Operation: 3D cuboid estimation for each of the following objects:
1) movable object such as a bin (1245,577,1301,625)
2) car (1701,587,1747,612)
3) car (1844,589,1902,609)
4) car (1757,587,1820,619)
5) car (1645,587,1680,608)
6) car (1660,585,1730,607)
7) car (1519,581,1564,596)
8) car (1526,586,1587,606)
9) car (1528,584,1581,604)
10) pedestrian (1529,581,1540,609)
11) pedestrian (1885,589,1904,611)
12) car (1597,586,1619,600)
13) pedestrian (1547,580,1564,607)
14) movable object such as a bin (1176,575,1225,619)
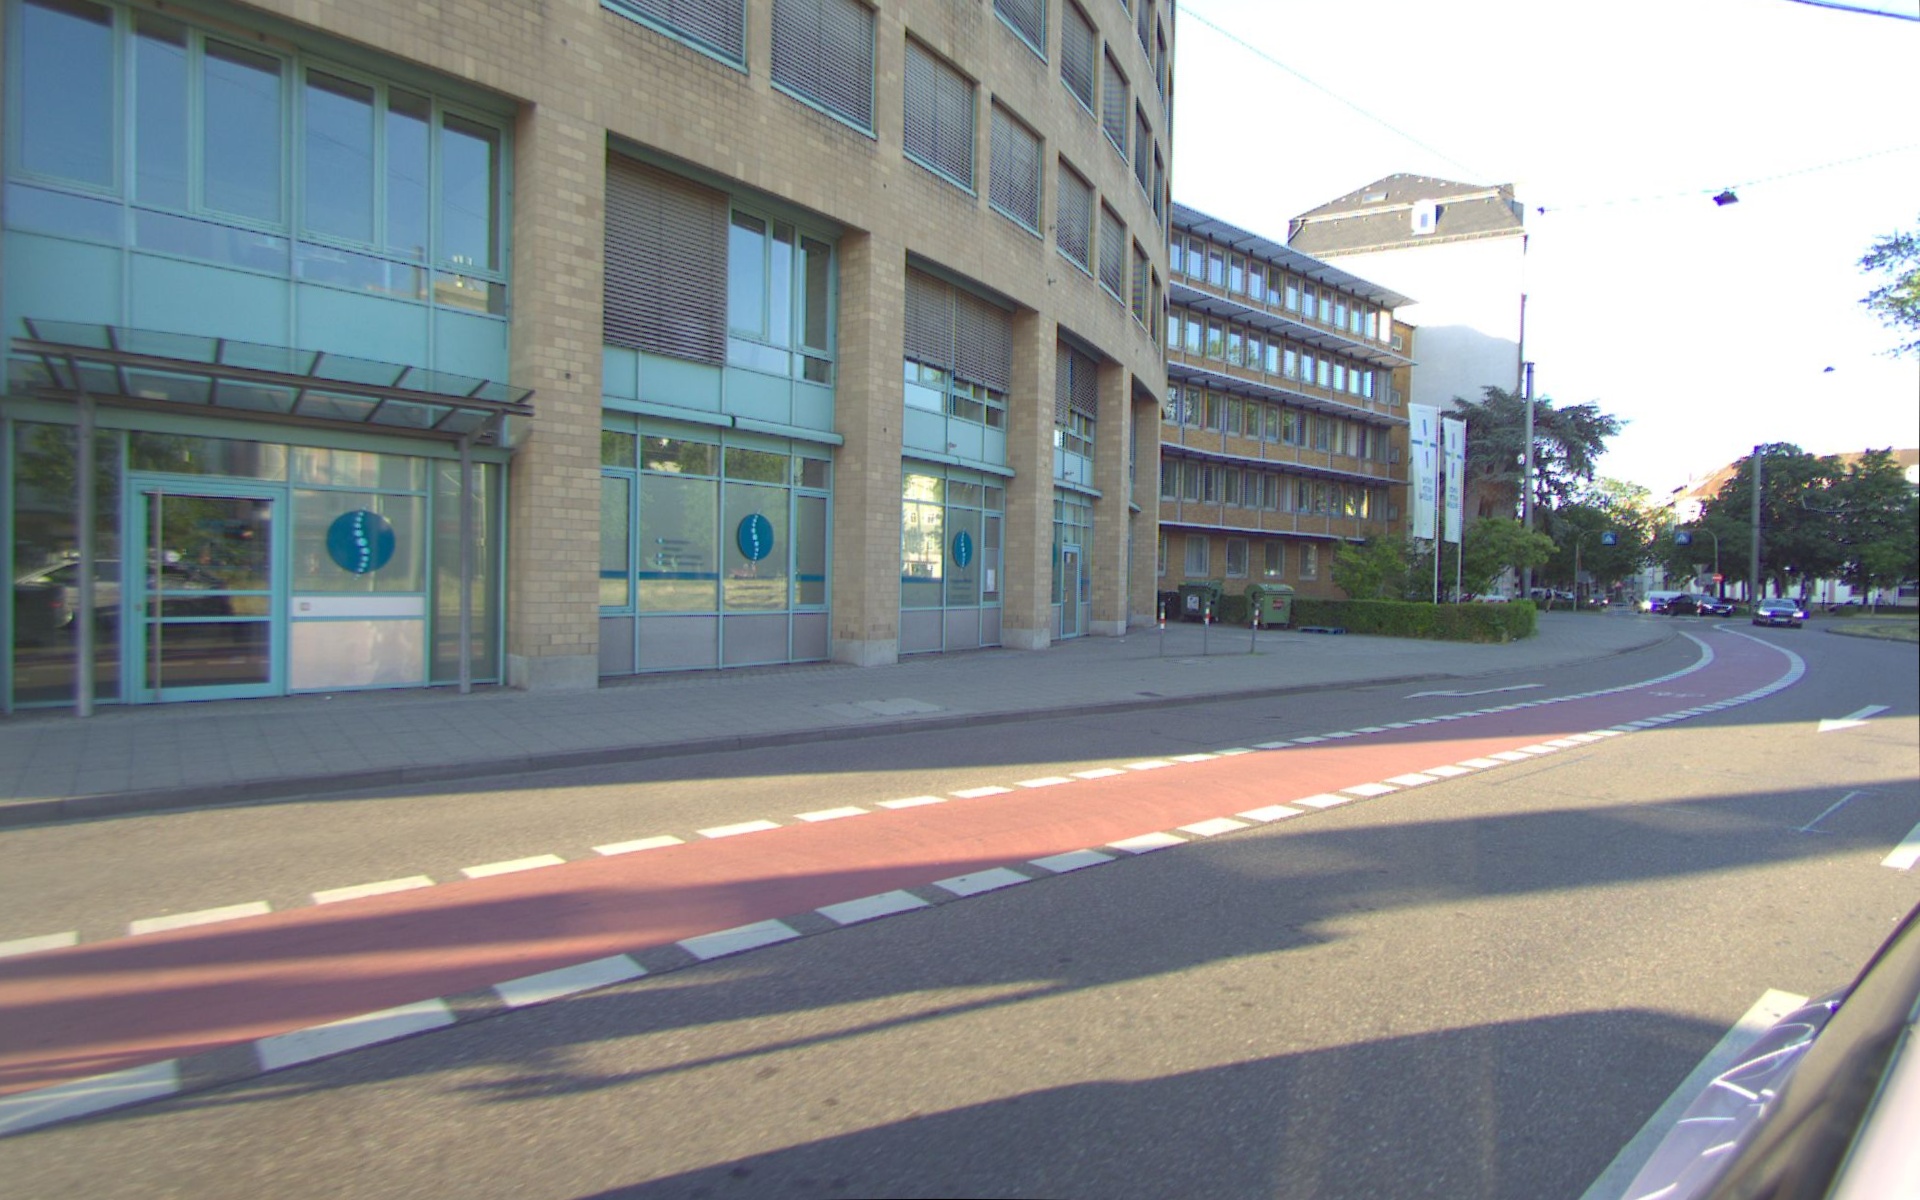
[{"bbox_3d":[9.881,0.033,31.971,1.317,1.455,0.976,2,0,-21],"label":"movable object such as a bin"},{"bbox_3d":[49.671,-0.001,65.858,1.806,1.501,4.092,3,1,29],"label":"car"},{"bbox_3d":[88.703,-0.079,98.387,1.672,1.746,4.008,2,1,-41],"label":"car"},{"bbox_3d":[42.695,0.154,52.209,1.806,1.501,4.091,3,1,30],"label":"car"},{"bbox_3d":[53.736,-0.209,77.431,1.806,1.501,4.091,3,1,30],"label":"car"},{"bbox_3d":[71.757,-0.409,98.876,2.082,1.926,5.079,2,1,-38],"label":"car"},{"bbox_3d":[68.179,-1.341,118.723,4.358,1.633,1.713,3,1,28],"label":"car"},{"bbox_3d":[50.535,-0.345,85.826,4.362,1.577,1.818,3,1,30],"label":"car"},{"bbox_3d":[52.902,-0.506,90.124,4.036,1.589,1.817,3,1,31],"label":"car"},{"bbox_3d":[36.957,-0.321,65.093,0.573,1.730,0.713,2,0,32],"label":"pedestrian"},{"bbox_3d":[75.756,-0.017,82.023,0.769,1.737,0.771,2,0,-9],"label":"pedestrian"},{"bbox_3d":[71.261,-0.780,111.288,1.810,1.501,4.083,2,0,35],"label":"car"},{"bbox_3d":[40.372,-0.443,68.621,0.805,1.814,0.593,2,0,-30],"label":"pedestrian"},{"bbox_3d":[8.199,-0.119,34.534,1.340,1.442,0.910,3,1,43],"label":"movable object such as a bin"}]
